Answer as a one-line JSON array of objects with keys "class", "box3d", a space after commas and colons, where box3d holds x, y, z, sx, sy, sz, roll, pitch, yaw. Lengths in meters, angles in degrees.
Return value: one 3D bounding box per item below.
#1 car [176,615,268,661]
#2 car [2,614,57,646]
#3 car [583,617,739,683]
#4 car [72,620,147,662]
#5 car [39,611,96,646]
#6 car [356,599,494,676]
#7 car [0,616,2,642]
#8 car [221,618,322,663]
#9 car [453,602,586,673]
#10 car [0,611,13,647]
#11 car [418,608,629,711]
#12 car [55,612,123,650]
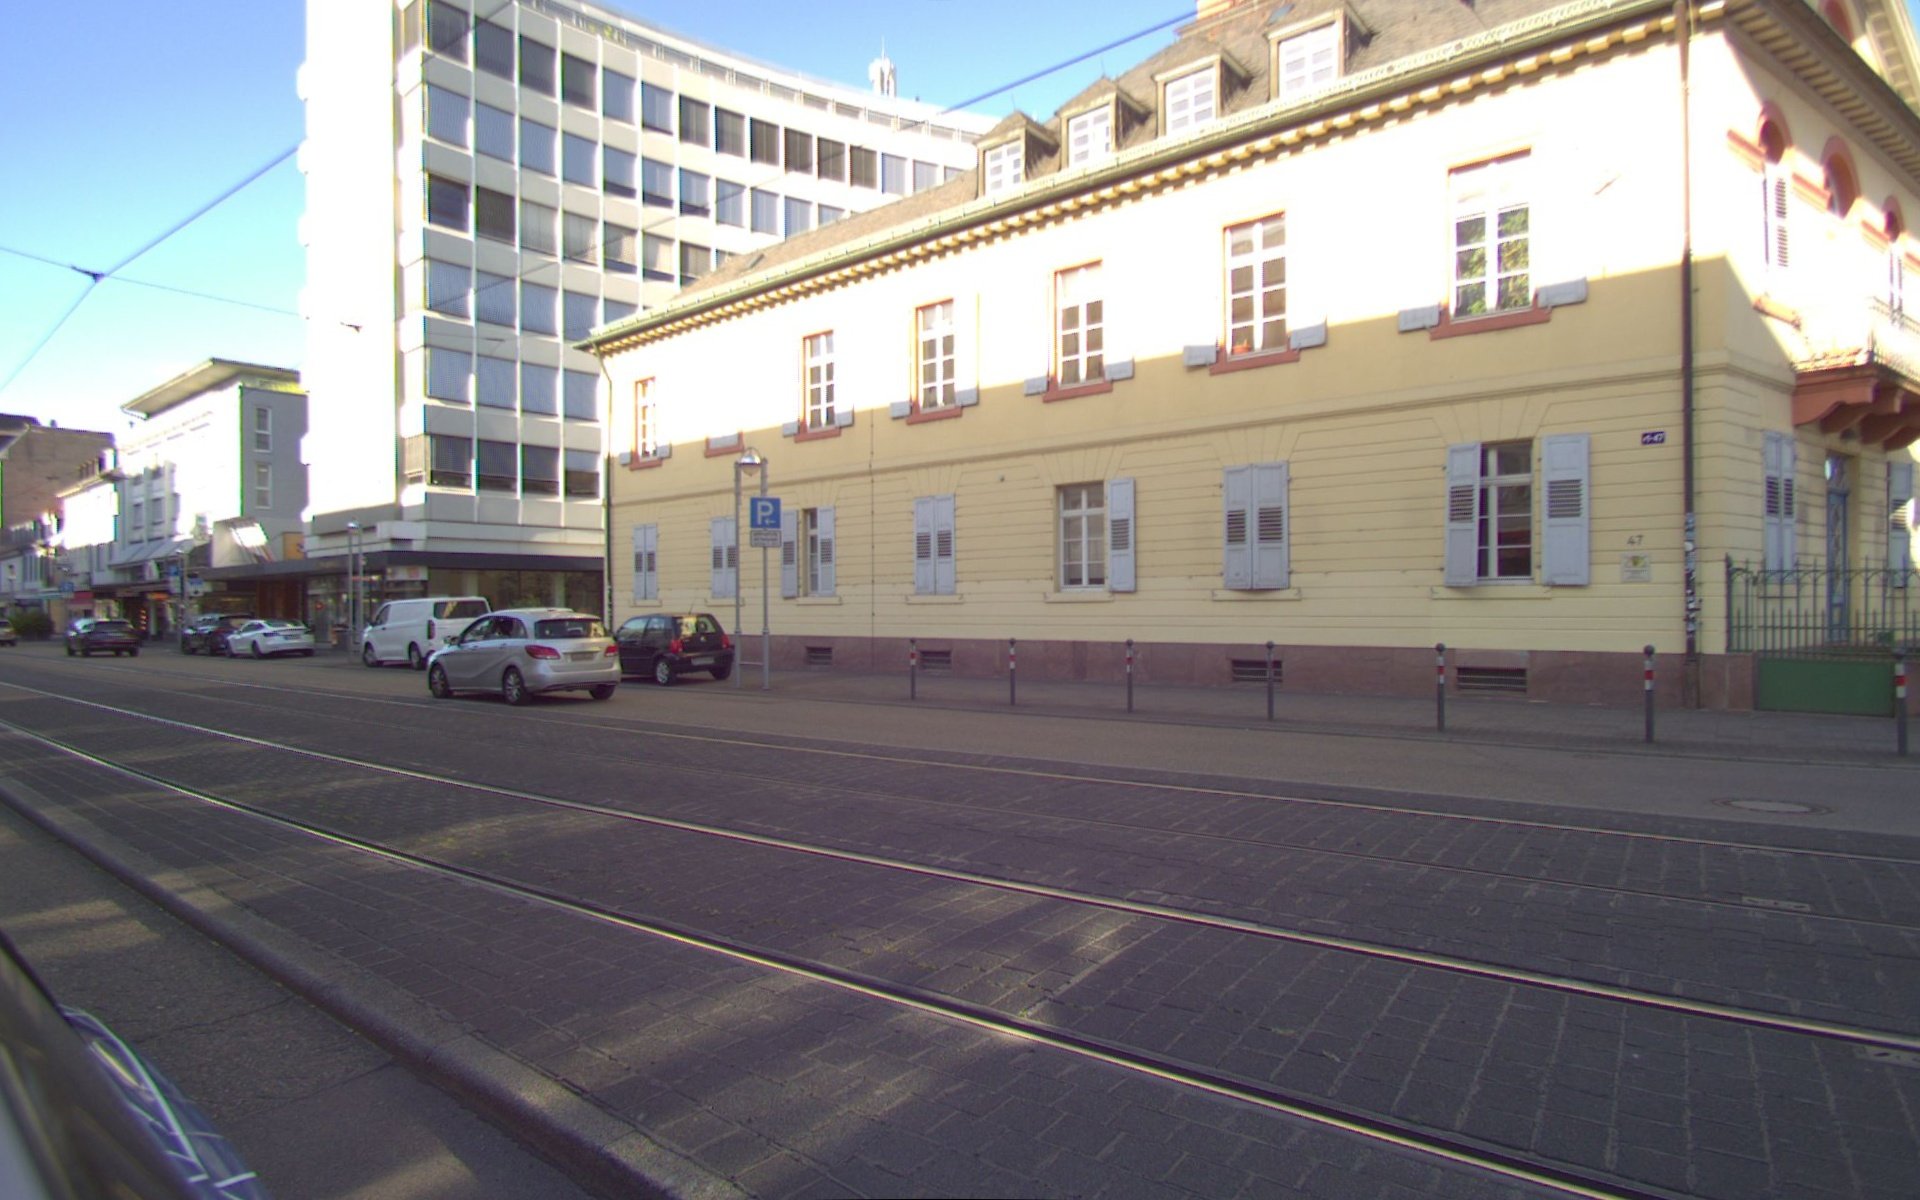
[{"class": "car", "box3d": [-29.916, 1.496, 40.975, 4.103, 1.717, 1.975, -1, 0, 38]}, {"class": "car", "box3d": [-62.772, 2.019, 68.239, 3.996, 2.058, 2.172, -1, -1, 39]}, {"class": "car", "box3d": [-6.378, 1.006, 21.514, 3.210, 1.263, 1.667, -1, 0, 39]}, {"class": "car", "box3d": [-34.080, 1.599, 40.520, 4.001, 1.519, 1.937, -1, 0, 44]}, {"class": "car", "box3d": [-50.780, 1.622, 57.574, 3.995, 1.896, 1.768, -1, -1, 38]}, {"class": "car", "box3d": [-15.359, 1.046, 28.957, 4.619, 2.029, 2.014, -1, -1, 41]}, {"class": "car", "box3d": [-77.916, 2.336, 80.487, 3.995, 2.029, 1.974, -1, 0, 38]}, {"class": "car", "box3d": [-25.635, 1.449, 37.633, 4.369, 1.541, 1.974, -1, 0, 39]}, {"class": "car", "box3d": [-11.159, 0.896, 25.512, 4.005, 1.621, 1.619, -1, 0, 43]}, {"class": "car", "box3d": [-54.008, 1.610, 55.921, 3.851, 1.908, 1.891, -1, 0, 38]}, {"class": "car", "box3d": [-7.748, 0.978, 17.836, 3.994, 1.609, 1.739, -1, -1, 38]}, {"class": "car", "box3d": [-45.865, 1.606, 53.267, 3.995, 1.874, 1.974, -1, 0, 38]}]
